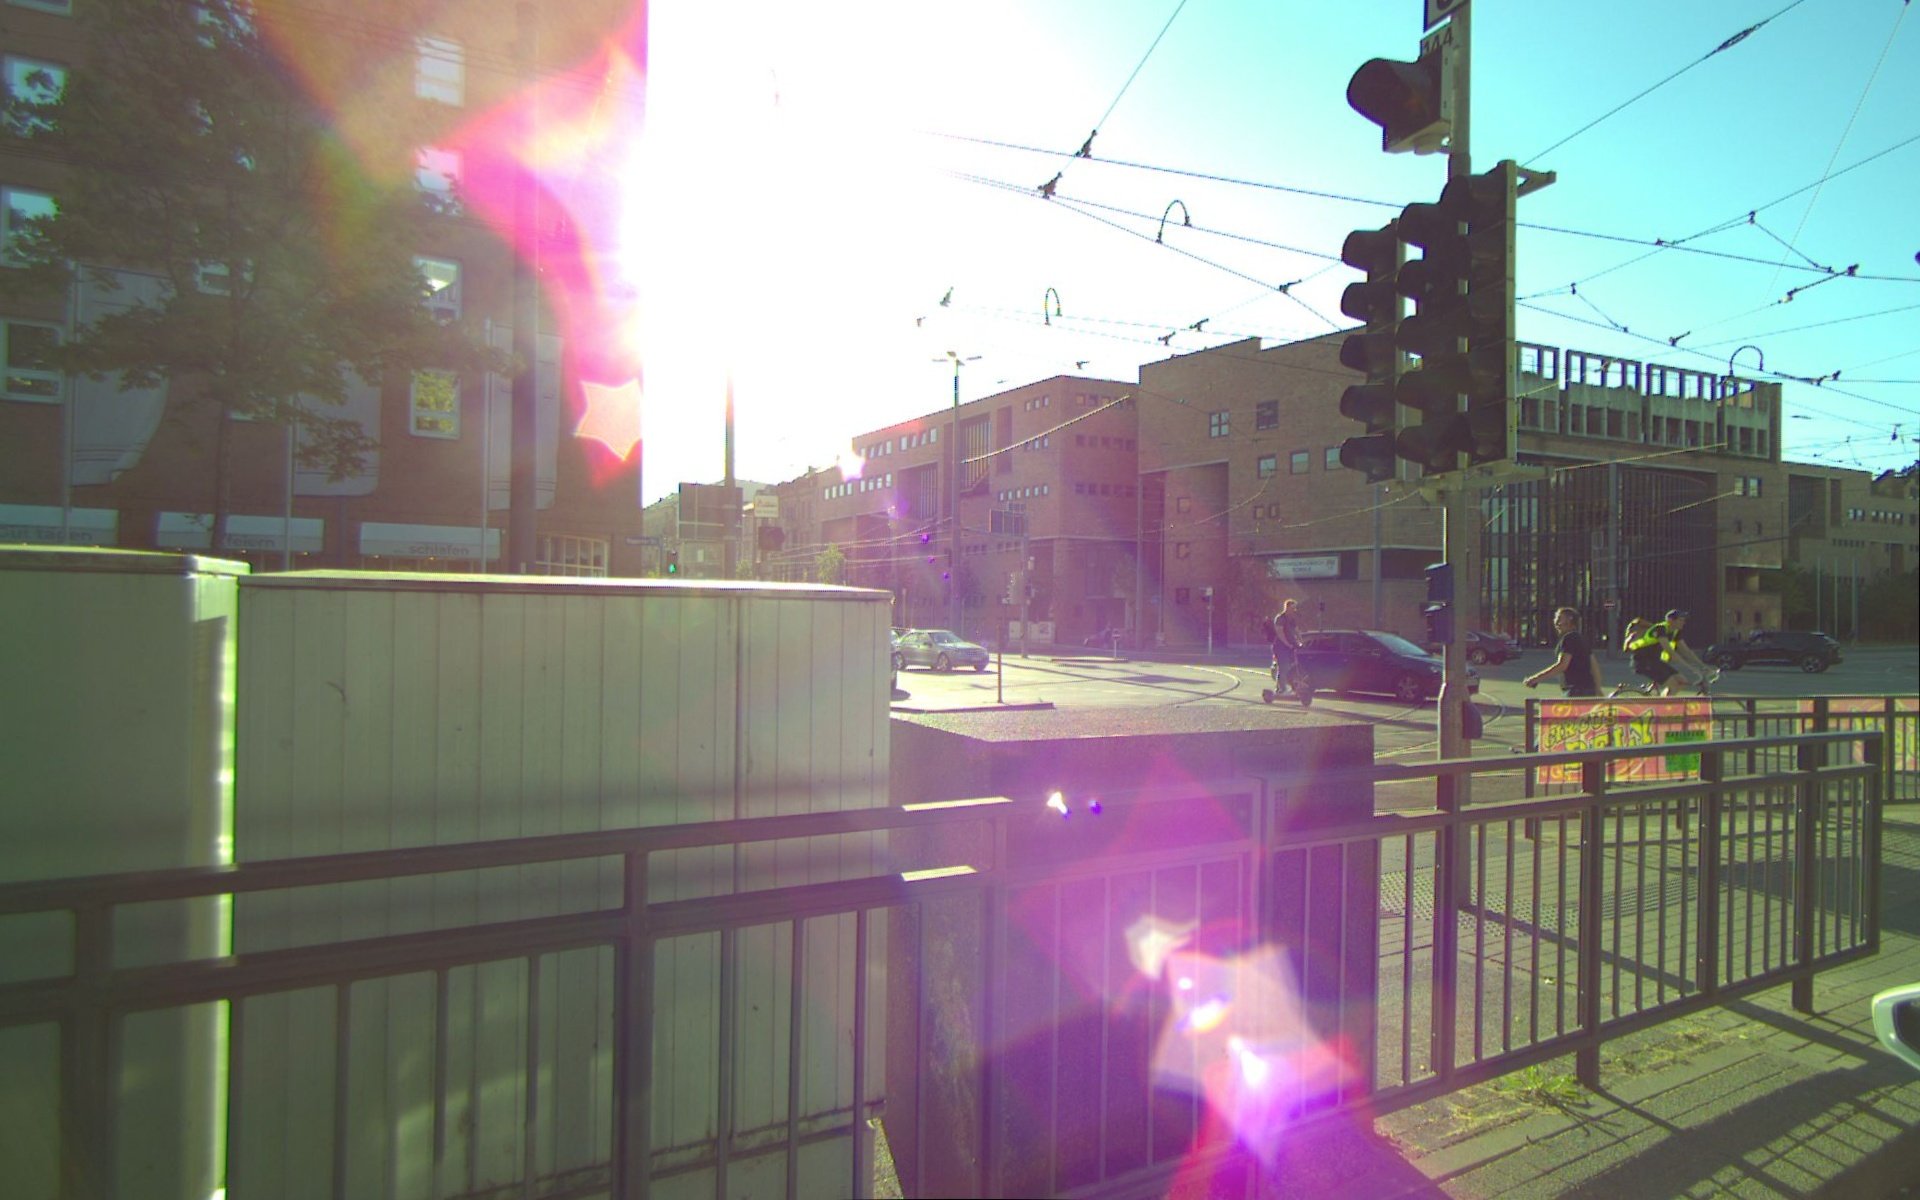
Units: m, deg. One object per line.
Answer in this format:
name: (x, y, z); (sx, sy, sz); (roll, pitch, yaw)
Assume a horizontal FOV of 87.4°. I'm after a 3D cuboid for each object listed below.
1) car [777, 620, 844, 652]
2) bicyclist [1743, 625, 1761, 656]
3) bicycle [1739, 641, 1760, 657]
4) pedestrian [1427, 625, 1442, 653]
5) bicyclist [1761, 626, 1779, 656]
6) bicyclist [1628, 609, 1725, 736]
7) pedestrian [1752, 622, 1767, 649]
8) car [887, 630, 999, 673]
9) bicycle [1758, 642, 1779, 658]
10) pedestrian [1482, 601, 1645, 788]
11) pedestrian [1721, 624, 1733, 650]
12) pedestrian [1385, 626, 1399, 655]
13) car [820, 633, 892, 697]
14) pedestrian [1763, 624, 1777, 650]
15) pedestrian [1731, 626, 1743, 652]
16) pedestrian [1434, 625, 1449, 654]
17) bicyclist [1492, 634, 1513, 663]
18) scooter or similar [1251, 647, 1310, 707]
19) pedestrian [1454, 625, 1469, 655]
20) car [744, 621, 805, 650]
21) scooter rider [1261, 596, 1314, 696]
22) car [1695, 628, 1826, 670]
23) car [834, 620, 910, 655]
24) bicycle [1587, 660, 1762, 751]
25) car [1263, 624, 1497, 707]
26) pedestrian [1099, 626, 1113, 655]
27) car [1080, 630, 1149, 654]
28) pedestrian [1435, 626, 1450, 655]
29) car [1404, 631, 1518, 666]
car: (-8.475, 2.011, 56.704); (1.981, 1.719, 4.316); (1, -2, -36)
bicyclist: (44.473, 2.264, 56.423); (0.782, 1.697, 0.589); (1, -1, -36)
bicycle: (44.346, 2.740, 56.434); (1.823, 0.893, 0.509); (2, -2, -38)
pedestrian: (28.129, 2.319, 59.545); (0.534, 1.672, 0.618); (1, -2, -40)
bicyclist: (45.056, 2.281, 55.886); (0.782, 1.697, 0.589); (1, -1, -36)
bicyclist: (9.886, 0.970, 13.873); (0.631, 1.686, 0.901); (1, -1, -27)
pedestrian: (55.304, 2.433, 69.462); (0.538, 1.834, 0.640); (1, -1, -23)
car: (-0.684, 1.808, 36.204); (1.980, 1.398, 4.351); (1, -2, -35)
bicycle: (44.998, 2.769, 55.875); (1.823, 0.893, 0.509); (2, -2, -38)
pedestrian: (6.439, 0.950, 10.737); (1.032, 1.846, 1.200); (2, -1, -36)
pedestrian: (54.375, 2.612, 71.200); (0.538, 1.834, 0.489); (1, -1, -23)
pedestrian: (24.380, 2.278, 56.647); (0.560, 1.635, 0.545); (0, -1, 1)
car: (-2.457, 1.525, 24.297); (1.608, 1.416, 3.305); (0, -1, -4)
pedestrian: (56.654, 2.604, 70.257); (0.538, 1.803, 0.521); (1, -1, -23)
pedestrian: (55.750, 2.777, 72.068); (0.538, 1.834, 0.489); (1, -1, -23)
pedestrian: (28.070, 2.311, 58.597); (0.533, 1.672, 0.619); (1, -1, -37)
bicyclist: (26.514, 2.368, 49.098); (0.810, 1.384, 0.398); (-1, -2, 45)
scooter or similar: (6.334, 1.511, 19.915); (0.397, 1.119, 1.202); (1, -1, -26)
pedestrian: (28.793, 2.298, 57.656); (0.533, 1.672, 0.620); (1, -1, -34)
car: (-11.443, 2.184, 61.728); (1.981, 1.719, 4.316); (1, -2, -36)
scooter rider: (6.464, 0.901, 19.839); (0.727, 1.921, 0.661); (1, -2, -27)
car: (31.323, 1.892, 39.354); (1.784, 1.527, 3.823); (2, -2, -44)
car: (-4.603, 1.905, 52.058); (1.981, 1.719, 4.316); (1, -2, -36)
bicycle: (9.856, 1.411, 13.935); (0.621, 1.078, 1.916); (1, -1, -27)
car: (9.045, 1.337, 21.965); (1.980, 1.538, 4.355); (0, -1, -35)
pedestrian: (8.586, 2.367, 58.984); (0.608, 1.635, 0.540); (-1, 2, -35)
car: (9.625, 2.593, 62.708); (1.780, 1.411, 4.207); (2, -2, -39)
pedestrian: (27.701, 2.307, 57.709); (0.534, 1.672, 0.618); (1, -1, -39)
car: (22.300, 2.139, 44.829); (1.780, 1.453, 4.207); (1, -2, -39)
